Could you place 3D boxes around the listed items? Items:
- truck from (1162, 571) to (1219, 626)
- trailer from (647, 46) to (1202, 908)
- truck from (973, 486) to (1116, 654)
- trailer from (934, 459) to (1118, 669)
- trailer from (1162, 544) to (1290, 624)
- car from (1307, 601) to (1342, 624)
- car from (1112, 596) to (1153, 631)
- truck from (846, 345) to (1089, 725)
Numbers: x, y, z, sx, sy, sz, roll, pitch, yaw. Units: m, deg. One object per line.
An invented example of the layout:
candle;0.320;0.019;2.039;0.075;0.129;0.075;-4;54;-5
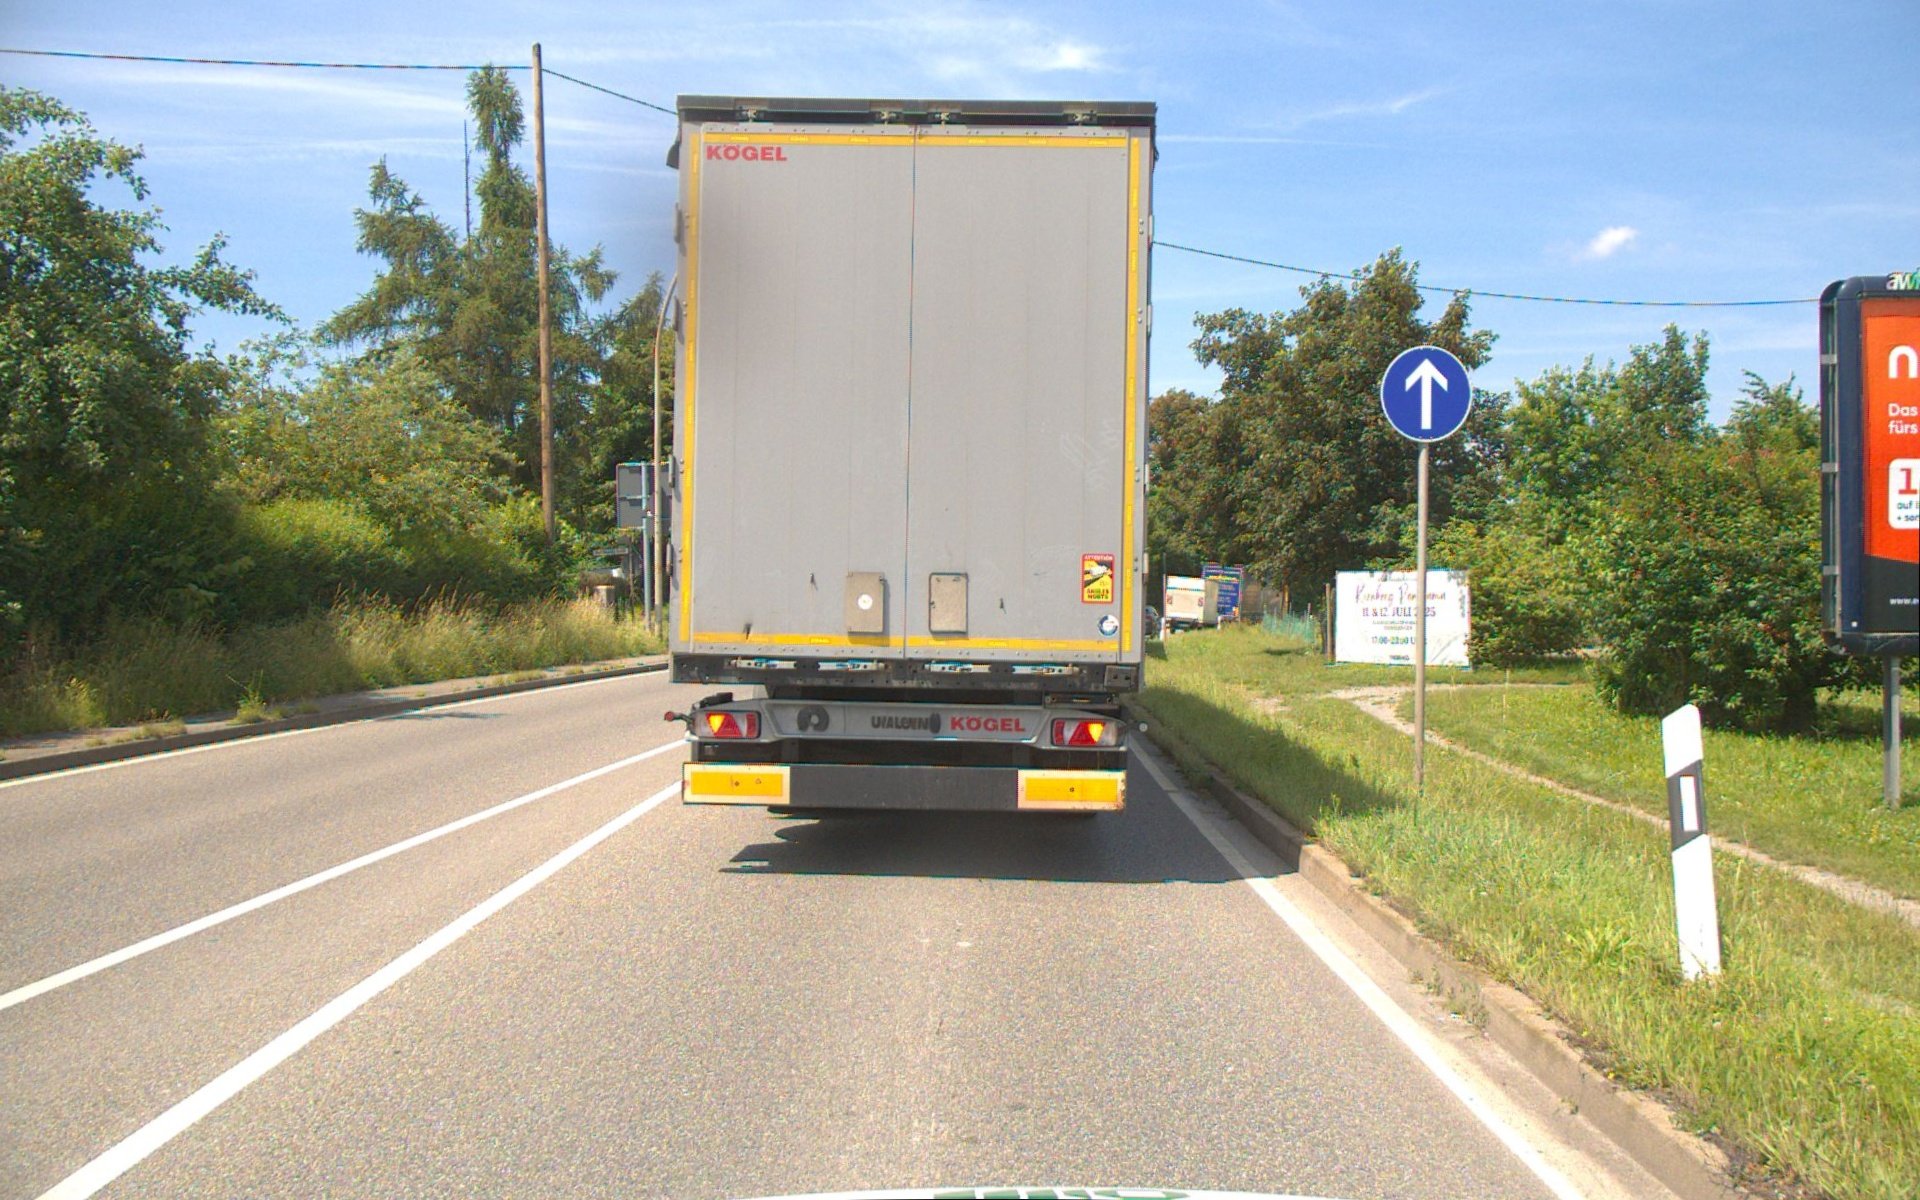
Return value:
truck;12.534;-0.126;89.697;2.369;2.888;5.416;0;1;15
trailer;-0.008;-0.697;14.323;2.729;4.278;12.114;1;1;2
truck;2.695;-0.858;49.648;3.853;4.655;7.157;0;0;6
trailer;2.045;-0.813;42.664;3.808;4.600;12.722;0;0;6
trailer;17.276;-1.055;105.927;5.072;4.709;15.898;1;1;20
car;28.260;0.977;128.117;1.953;1.713;4.000;1;1;22
car;7.964;0.589;76.543;1.802;1.512;4.003;1;1;6
truck;0.283;-0.778;21.662;2.688;4.238;6.146;1;1;4
